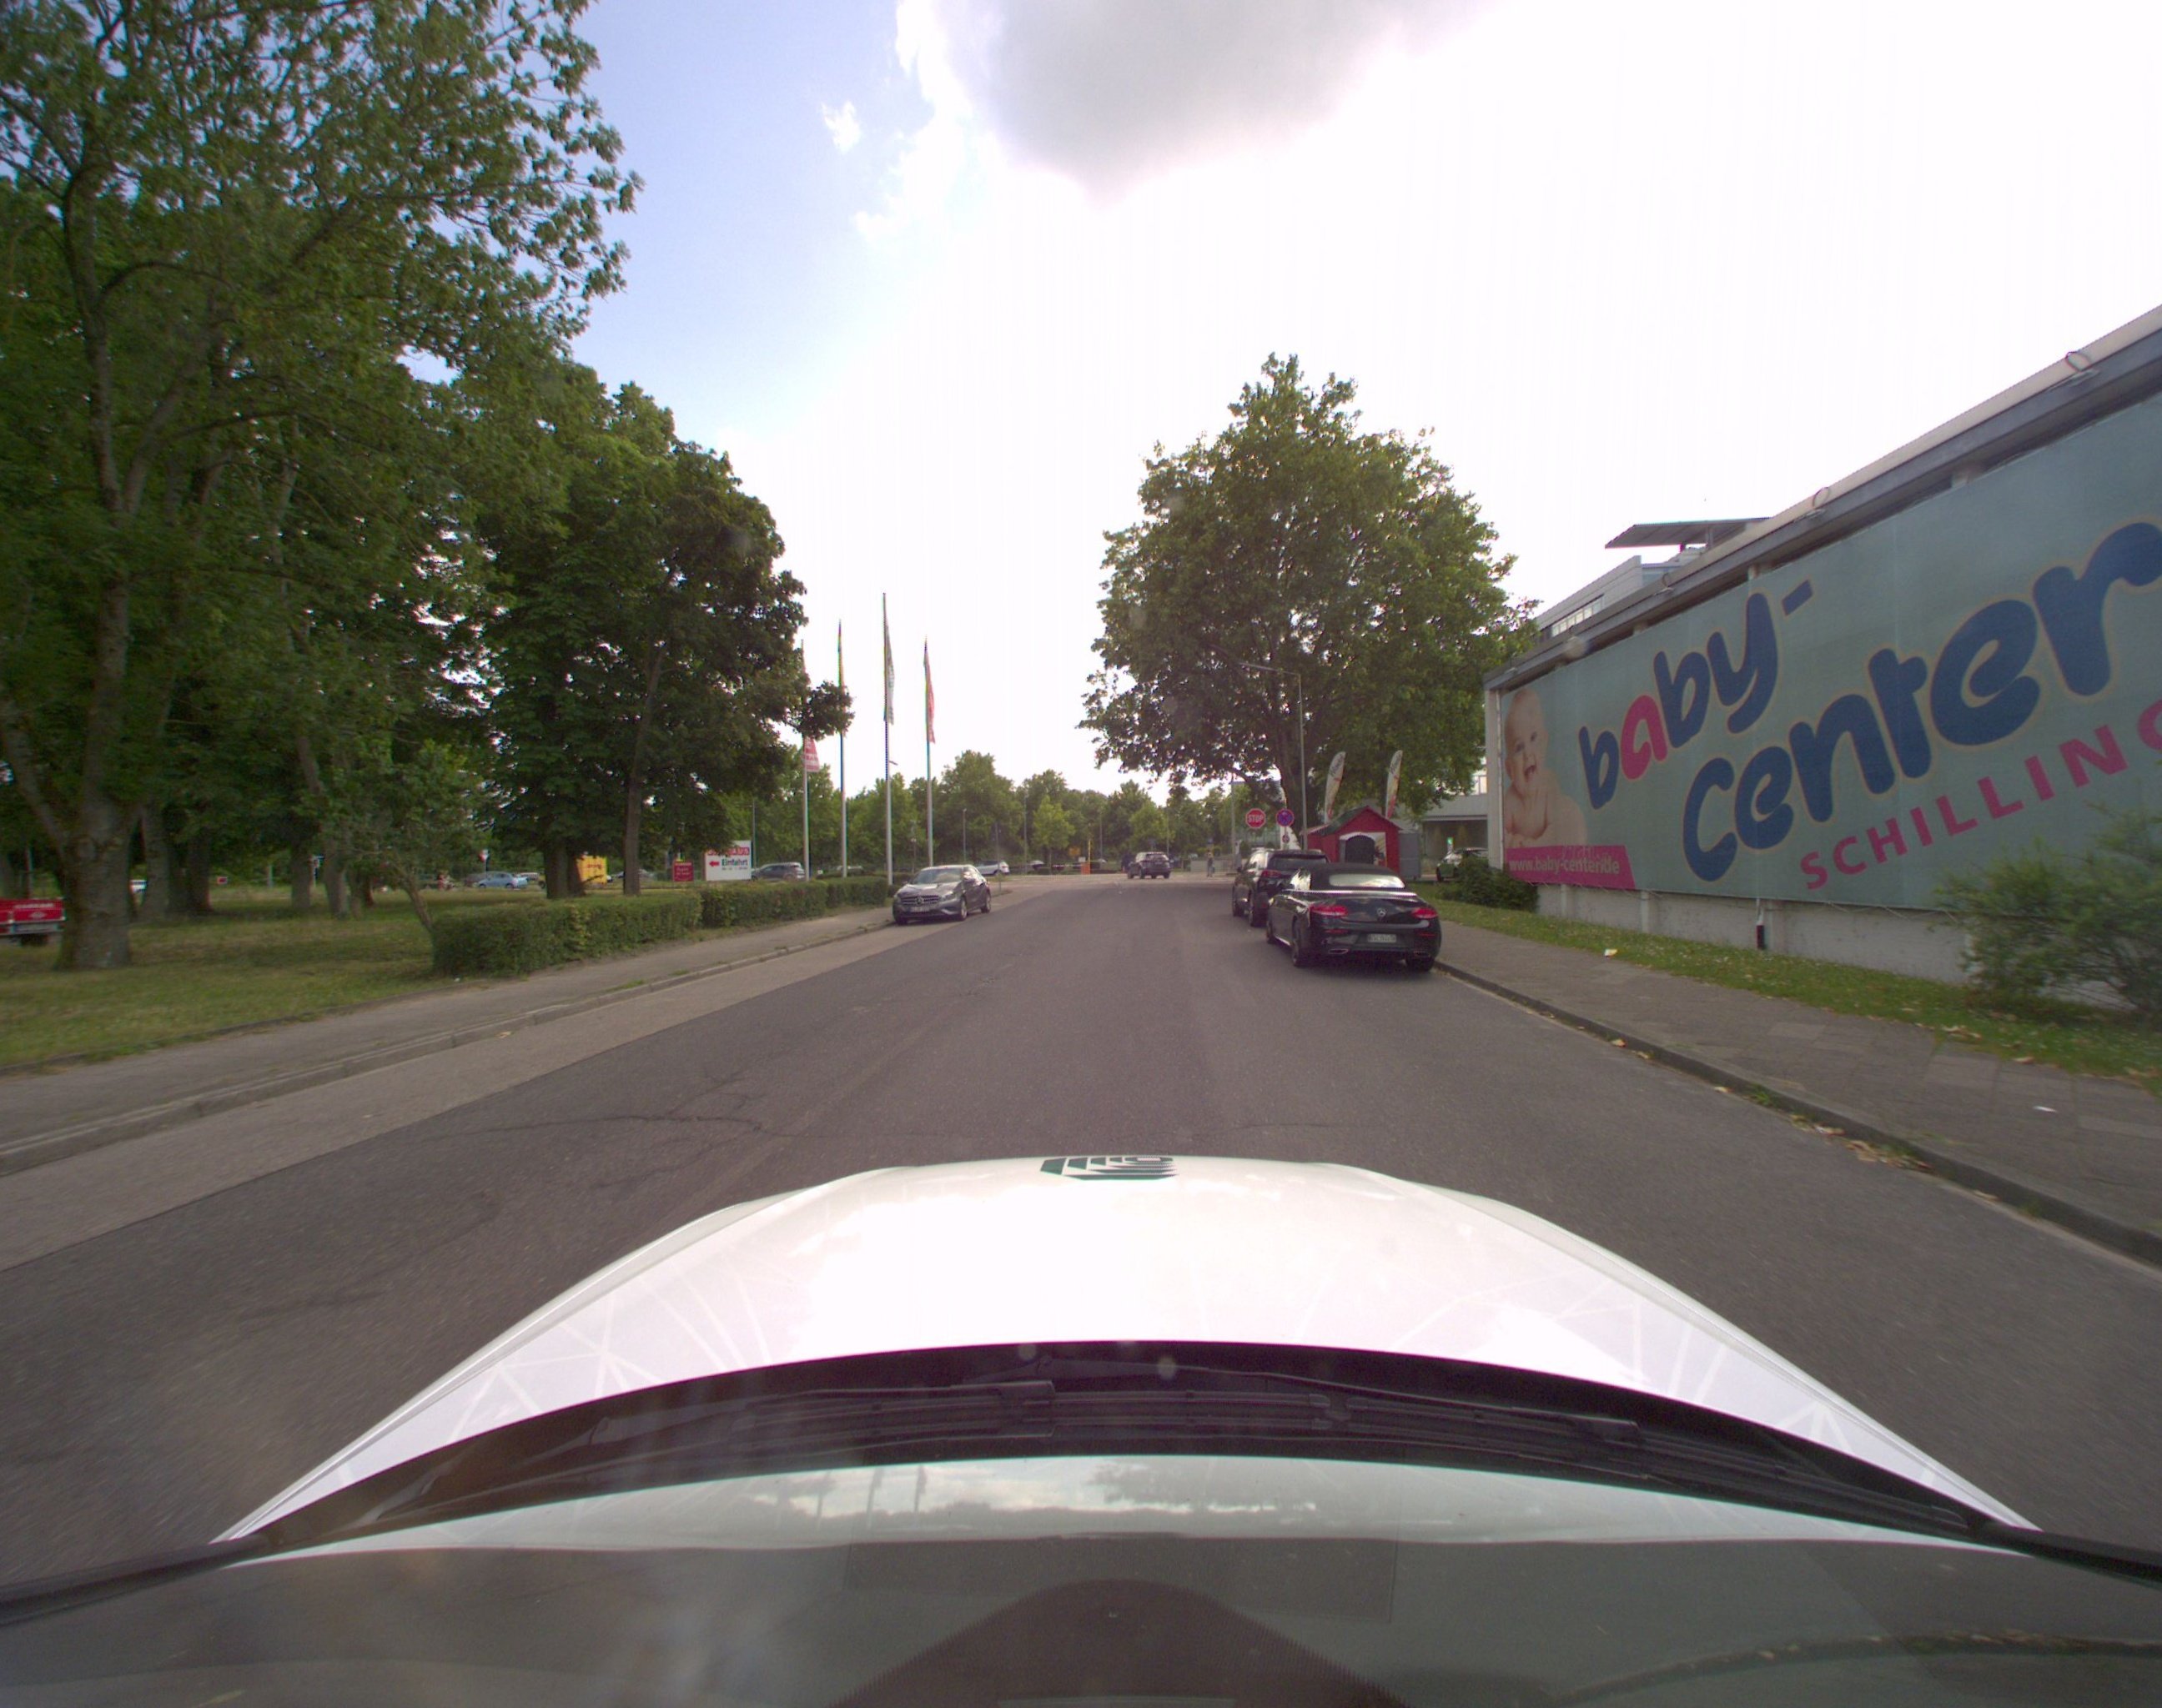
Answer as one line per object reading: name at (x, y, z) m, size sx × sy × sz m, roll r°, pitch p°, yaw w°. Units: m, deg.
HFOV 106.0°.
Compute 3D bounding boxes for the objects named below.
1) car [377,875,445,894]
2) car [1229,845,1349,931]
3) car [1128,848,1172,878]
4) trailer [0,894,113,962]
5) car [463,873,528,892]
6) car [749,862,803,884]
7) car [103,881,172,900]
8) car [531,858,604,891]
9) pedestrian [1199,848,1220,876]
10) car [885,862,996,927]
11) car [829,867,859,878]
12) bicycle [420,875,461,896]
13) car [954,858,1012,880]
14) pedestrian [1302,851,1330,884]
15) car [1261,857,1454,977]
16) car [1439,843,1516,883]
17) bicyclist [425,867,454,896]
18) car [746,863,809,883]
car at (-54.083, 2.451, 65.792) m, size 4.000 × 1.406 × 1.799 m, roll -1°, pitch 0°, yaw 3°
car at (4.518, 0.665, 18.403) m, size 1.800 × 1.665 × 4.645 m, roll 1°, pitch 0°, yaw 4°
car at (4.406, 0.537, 52.660) m, size 1.960 × 1.815 × 4.264 m, roll -1°, pitch 0°, yaw -7°
trailer at (-22.067, 1.467, 16.340) m, size 3.793 × 1.190 × 1.720 m, roll -1°, pitch 0°, yaw 10°
car at (-47.621, 2.329, 66.272) m, size 4.000 × 1.406 × 1.799 m, roll -1°, pitch 0°, yaw 3°
car at (-33.759, 2.099, 90.202) m, size 5.266 × 2.211 × 1.798 m, roll -1°, pitch -1°, yaw 1°
car at (-84.001, 3.239, 72.570) m, size 1.850 × 1.503 × 3.935 m, roll -1°, pitch -1°, yaw 38°
car at (-43.855, 1.755, 69.506) m, size 6.324 × 2.578 × 2.219 m, roll -2°, pitch -1°, yaw 26°
pedestrian at (8.515, 0.535, 53.986) m, size 1.001 × 1.849 × 1.224 m, roll -1°, pitch -1°, yaw -13°
car at (-3.648, 1.002, 22.002) m, size 1.701 × 1.420 × 4.339 m, roll -4°, pitch 0°, yaw 6°
car at (-36.240, 2.848, 124.635) m, size 1.895 × 1.662 × 4.025 m, roll -1°, pitch -1°, yaw 38°
bicycle at (-38.085, 1.860, 48.406) m, size 1.803 × 1.166 × 0.730 m, roll -2°, pitch 1°, yaw 0°
car at (-7.692, 1.194, 64.363) m, size 4.203 × 1.579 × 1.925 m, roll -1°, pitch 0°, yaw 3°
pedestrian at (9.486, 0.548, 32.876) m, size 1.007 × 1.314 × 0.968 m, roll -1°, pitch -1°, yaw 13°
car at (3.878, 0.772, 12.254) m, size 1.799 × 1.391 × 4.596 m, roll 1°, pitch 0°, yaw 6°
car at (16.242, 0.362, 33.601) m, size 1.729 × 1.512 × 4.010 m, roll -1°, pitch 0°, yaw 9°
bicyclist at (-38.115, 1.639, 48.392) m, size 1.003 × 1.647 × 0.734 m, roll -2°, pitch 1°, yaw 0°
car at (-24.156, 1.514, 64.853) m, size 4.203 × 1.406 × 1.925 m, roll -1°, pitch 0°, yaw 3°
